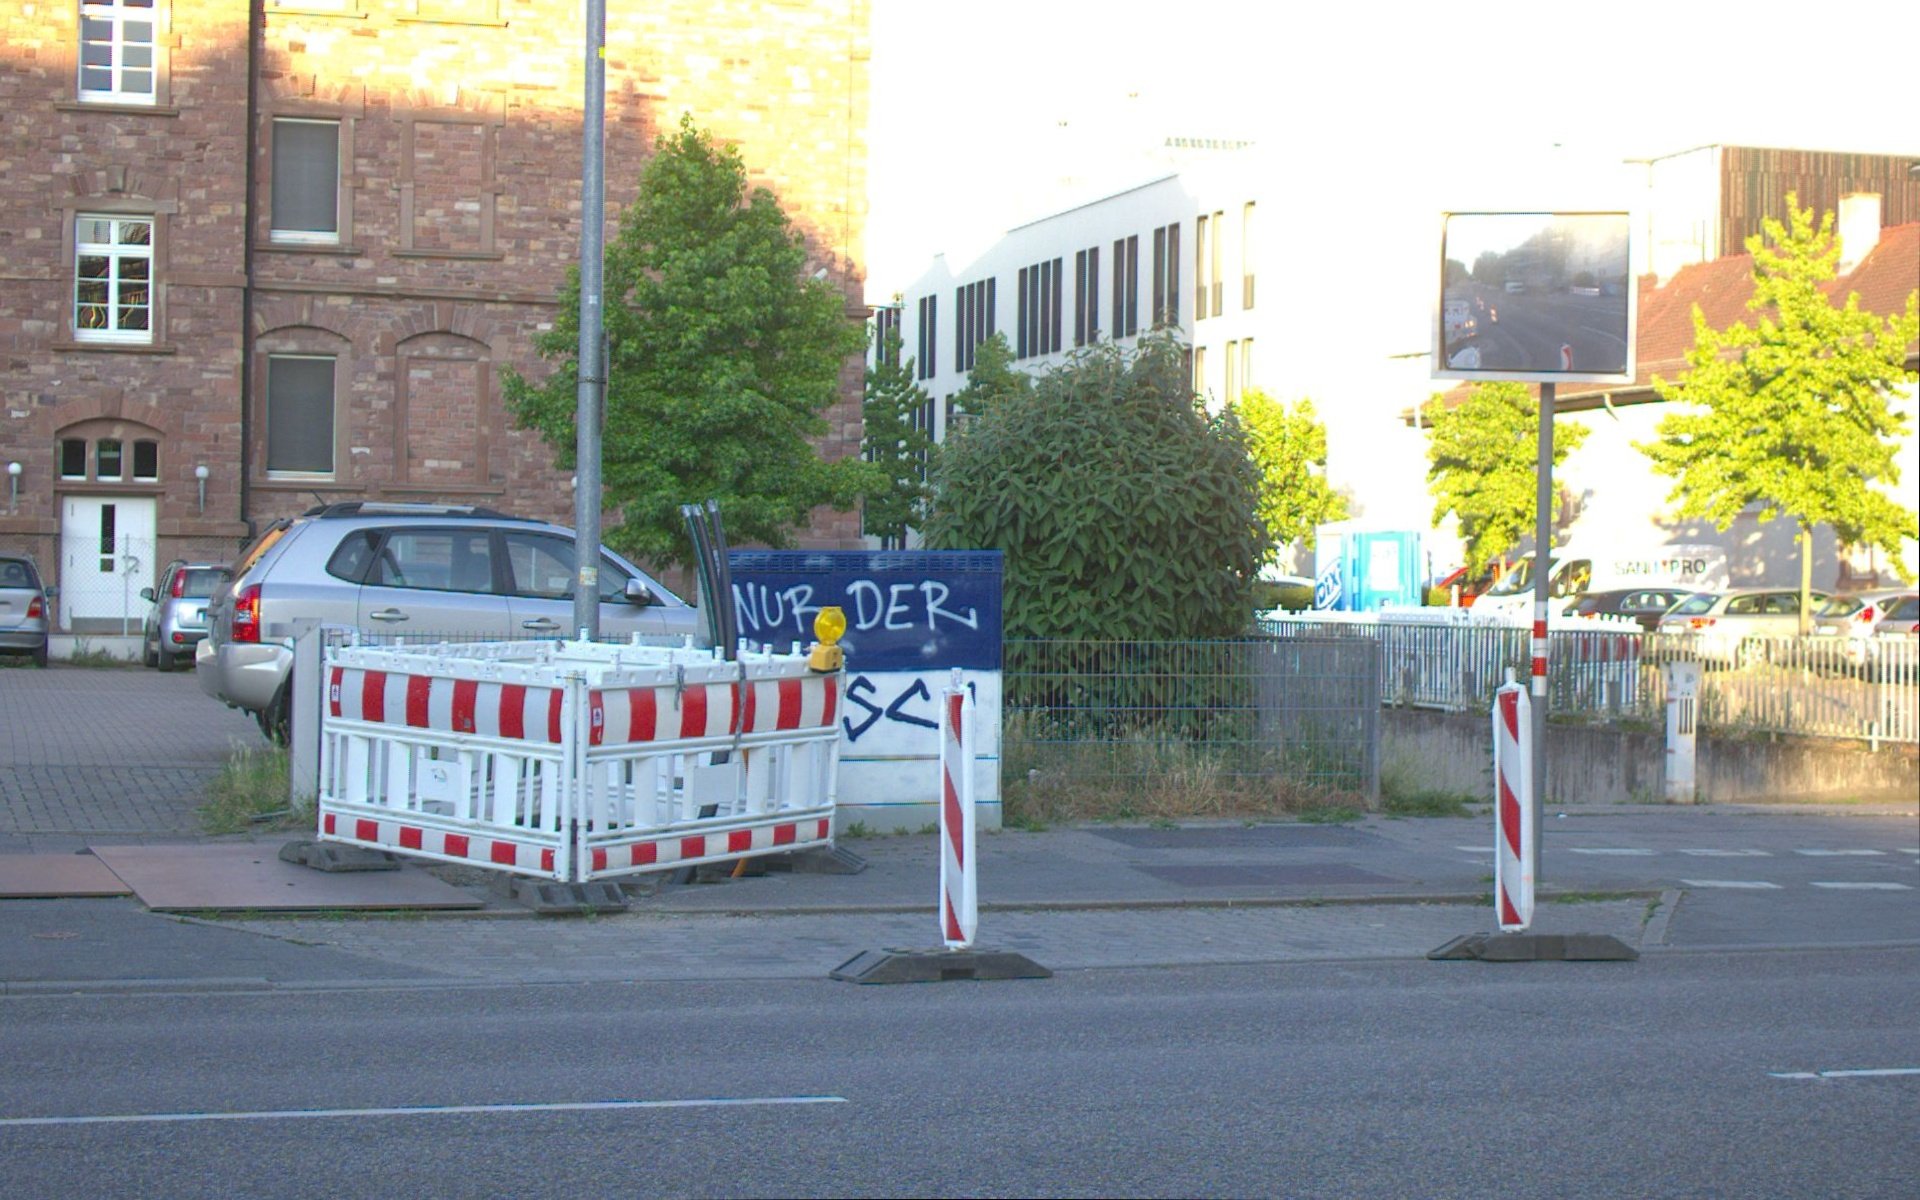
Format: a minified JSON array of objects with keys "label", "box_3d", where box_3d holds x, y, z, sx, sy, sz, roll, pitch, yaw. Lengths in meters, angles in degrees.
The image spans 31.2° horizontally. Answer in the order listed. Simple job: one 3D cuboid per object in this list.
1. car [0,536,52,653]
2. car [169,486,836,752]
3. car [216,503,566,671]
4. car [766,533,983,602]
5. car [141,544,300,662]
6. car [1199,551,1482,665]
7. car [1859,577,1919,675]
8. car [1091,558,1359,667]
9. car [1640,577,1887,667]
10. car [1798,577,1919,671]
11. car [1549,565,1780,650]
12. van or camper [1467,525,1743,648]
[{"label":"car","box_3d":[-13.456,-0.120,47.096,1.896,1.532,4.180,1,1,-16]},{"label":"car","box_3d":[-3.136,0.131,23.423,4.268,1.703,1.703,1,1,-17]},{"label":"car","box_3d":[-6.084,-0.137,36.675,3.474,1.703,1.668,1,1,-17]},{"label":"car","box_3d":[-1.732,-0.651,69.099,3.986,1.308,1.878,1,1,-17]},{"label":"car","box_3d":[-10.390,0.015,48.116,1.896,1.532,4.180,1,1,-16]},{"label":"car","box_3d":[5.579,0.121,50.470,3.739,1.597,1.687,1,1,-19]},{"label":"car","box_3d":[15.723,0.418,52.055,3.739,1.440,1.687,1,0,-19]},{"label":"car","box_3d":[4.092,0.186,53.188,3.739,1.597,1.687,1,0,-19]},{"label":"car","box_3d":[13.628,0.378,58.325,3.739,1.440,1.687,1,0,-19]},{"label":"car","box_3d":[15.421,0.392,54.639,3.739,1.440,1.687,1,0,-19]},{"label":"car","box_3d":[12.759,0.133,62.311,3.739,1.440,1.687,1,0,-19]},{"label":"van or camper","box_3d":[12.335,-0.248,65.706,4.961,2.233,1.687,1,0,-19]}]
